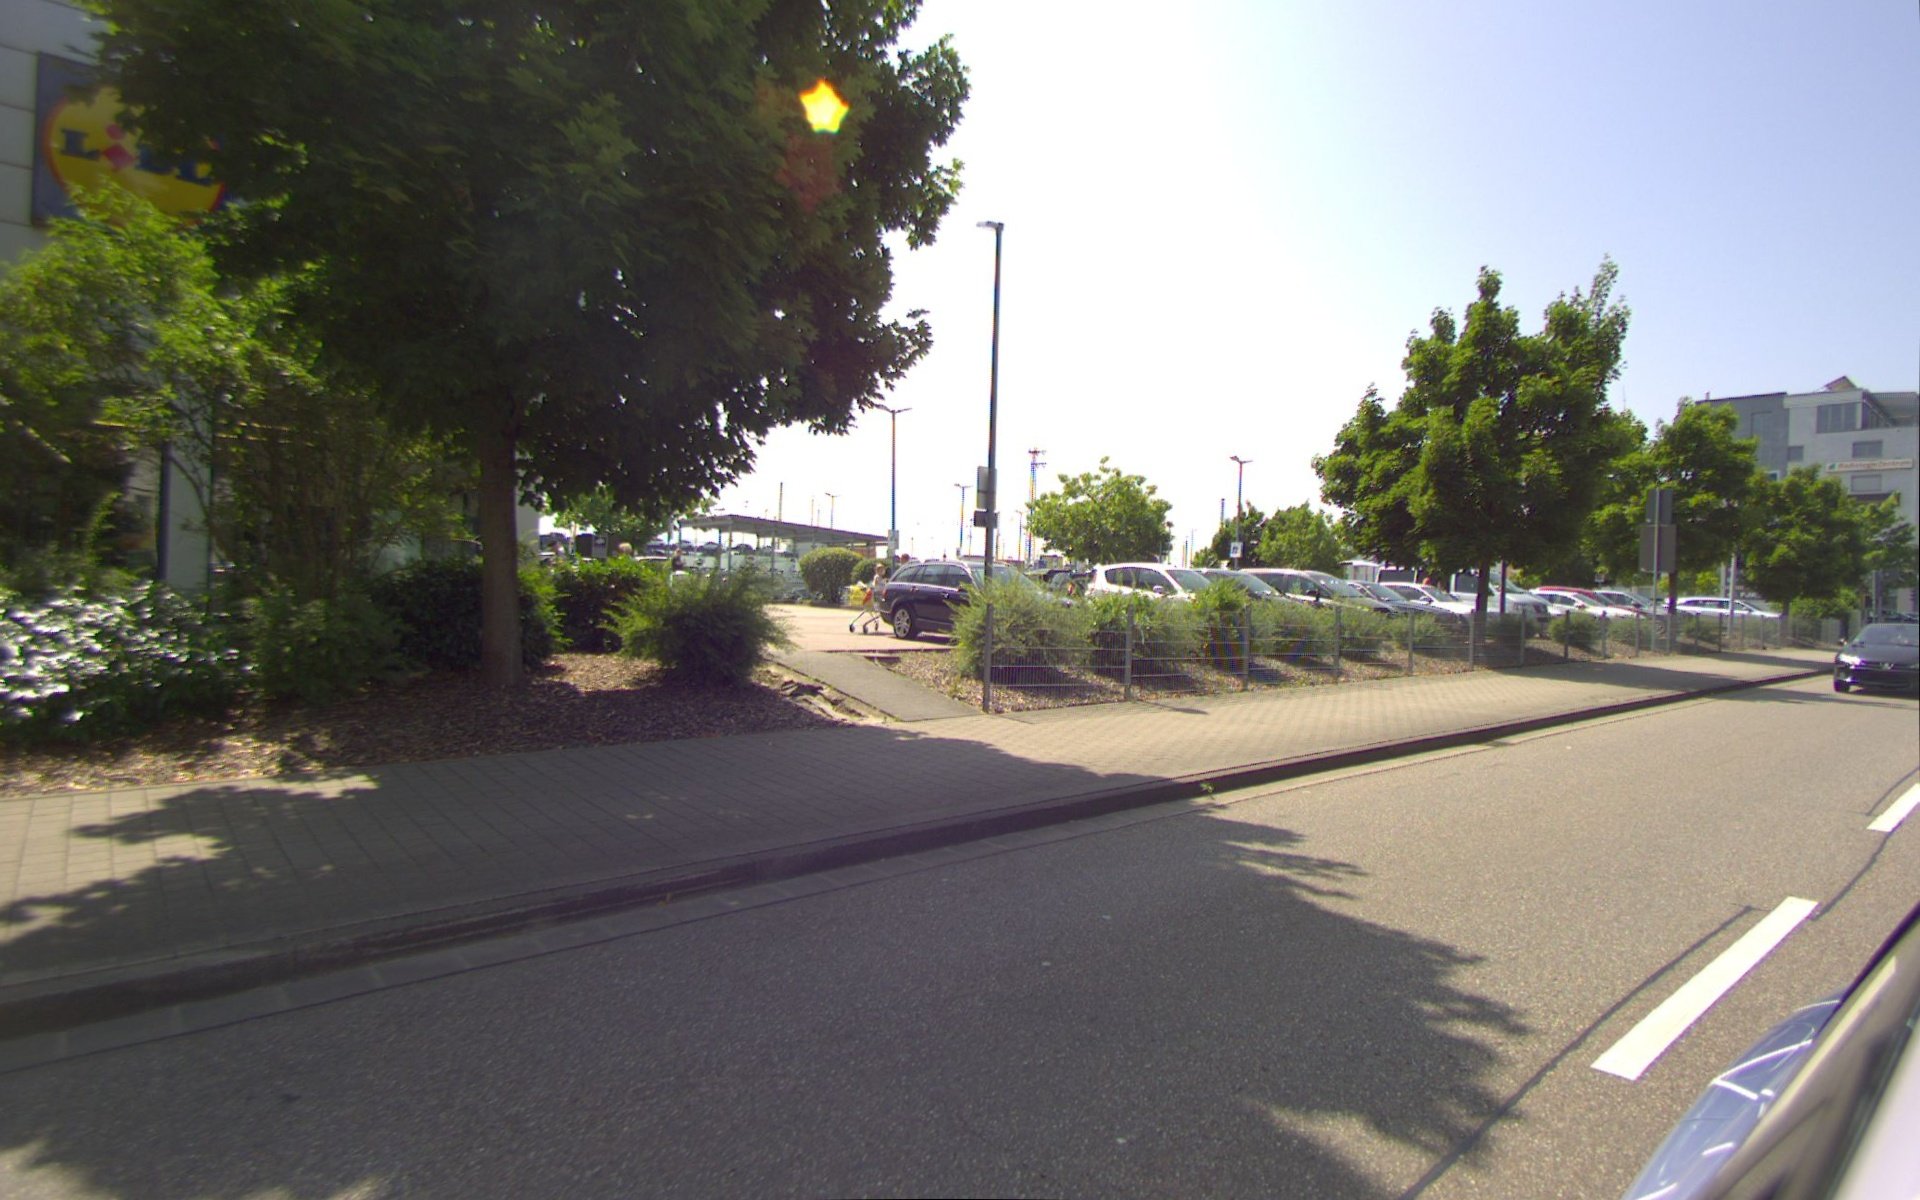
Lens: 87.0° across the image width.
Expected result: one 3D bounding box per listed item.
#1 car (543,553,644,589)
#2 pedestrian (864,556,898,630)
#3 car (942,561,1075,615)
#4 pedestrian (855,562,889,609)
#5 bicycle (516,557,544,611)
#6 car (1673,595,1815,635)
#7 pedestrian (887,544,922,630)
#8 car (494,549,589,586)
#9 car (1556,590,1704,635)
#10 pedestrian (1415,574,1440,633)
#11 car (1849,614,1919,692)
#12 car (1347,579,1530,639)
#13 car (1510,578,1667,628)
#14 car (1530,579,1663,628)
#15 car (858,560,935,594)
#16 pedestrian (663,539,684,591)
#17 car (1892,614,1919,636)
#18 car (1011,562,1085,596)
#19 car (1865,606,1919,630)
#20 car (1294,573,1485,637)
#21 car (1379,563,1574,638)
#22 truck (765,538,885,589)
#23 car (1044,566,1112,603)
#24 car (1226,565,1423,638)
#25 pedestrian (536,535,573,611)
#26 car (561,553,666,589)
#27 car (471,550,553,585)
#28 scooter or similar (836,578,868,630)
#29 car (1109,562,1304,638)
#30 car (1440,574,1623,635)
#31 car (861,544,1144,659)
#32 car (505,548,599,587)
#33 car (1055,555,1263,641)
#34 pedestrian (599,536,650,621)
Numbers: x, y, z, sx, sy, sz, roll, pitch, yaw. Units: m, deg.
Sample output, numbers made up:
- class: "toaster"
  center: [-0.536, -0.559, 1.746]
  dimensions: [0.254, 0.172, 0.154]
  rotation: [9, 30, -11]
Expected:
- class: "car"
  center: [-16.590, -1.314, 45.901]
  dimensions: [3.926, 1.432, 1.759]
  rotation: [2, 1, -38]
- class: "pedestrian"
  center: [-1.552, -0.141, 19.975]
  dimensions: [0.409, 1.430, 0.448]
  rotation: [2, 1, -43]
- class: "car"
  center: [1.553, -0.364, 31.797]
  dimensions: [3.922, 1.460, 1.653]
  rotation: [2, 1, -33]
- class: "pedestrian"
  center: [-1.691, -0.282, 19.443]
  dimensions: [0.409, 0.861, 0.448]
  rotation: [2, 1, -43]
- class: "bicycle"
  center: [-9.217, -0.358, 21.678]
  dimensions: [0.408, 1.102, 1.383]
  rotation: [2, 1, -28]
- class: "car"
  center: [33.802, 0.620, 43.746]
  dimensions: [1.667, 1.524, 4.587]
  rotation: [2, 1, -39]
- class: "pedestrian"
  center: [-1.107, -0.262, 20.147]
  dimensions: [0.409, 1.694, 0.448]
  rotation: [2, 1, -43]
- class: "car"
  center: [-21.808, -1.696, 52.835]
  dimensions: [4.242, 1.739, 1.759]
  rotation: [2, 1, -38]
- class: "car"
  center: [24.497, 0.426, 37.144]
  dimensions: [1.666, 1.439, 4.183]
  rotation: [2, 1, -36]
- class: "pedestrian"
  center: [13.130, 0.098, 28.432]
  dimensions: [0.439, 1.635, 0.416]
  rotation: [2, 2, -43]
- class: "car"
  center: [18.544, 0.998, 19.495]
  dimensions: [3.437, 1.374, 1.640]
  rotation: [2, 0, -40]
- class: "car"
  center: [12.604, 0.204, 26.864]
  dimensions: [1.793, 1.407, 3.998]
  rotation: [2, 1, -38]
- class: "car"
  center: [20.402, 0.067, 32.966]
  dimensions: [1.667, 1.439, 4.006]
  rotation: [2, 1, -39]
- class: "car"
  center: [22.329, 0.106, 35.590]
  dimensions: [1.693, 1.556, 3.596]
  rotation: [2, 1, -41]
- class: "car"
  center: [-3.499, -1.254, 55.882]
  dimensions: [3.784, 1.705, 1.787]
  rotation: [2, 1, -36]
- class: "pedestrian"
  center: [-10.568, -1.276, 37.342]
  dimensions: [0.563, 1.872, 0.815]
  rotation: [2, 1, -7]
- class: "car"
  center: [65.684, 1.760, 68.313]
  dimensions: [1.724, 1.356, 3.881]
  rotation: [2, 2, -39]
- class: "car"
  center: [4.859, -1.133, 55.880]
  dimensions: [3.784, 1.705, 1.787]
  rotation: [2, 1, -36]
- class: "car"
  center: [61.979, 1.219, 66.084]
  dimensions: [1.830, 1.356, 3.997]
  rotation: [2, 2, -39]
- class: "car"
  center: [10.630, 0.087, 25.285]
  dimensions: [1.793, 1.407, 3.998]
  rotation: [2, 1, -38]
- class: "car"
  center: [14.671, -0.029, 28.987]
  dimensions: [1.793, 1.948, 4.629]
  rotation: [2, 1, -38]
- class: "truck"
  center: [-11.459, -3.082, 86.631]
  dimensions: [9.843, 3.885, 2.860]
  rotation: [2, 2, -36]
- class: "car"
  center: [5.203, -0.672, 44.462]
  dimensions: [2.905, 1.437, 1.268]
  rotation: [2, 2, -41]
- class: "car"
  center: [8.478, -0.020, 23.814]
  dimensions: [1.794, 1.553, 3.998]
  rotation: [0, 2, -38]
- class: "pedestrian"
  center: [-8.782, -0.588, 21.930]
  dimensions: [0.525, 1.593, 0.590]
  rotation: [2, 1, -41]
- class: "car"
  center: [-14.986, -1.253, 43.883]
  dimensions: [3.926, 1.371, 1.759]
  rotation: [2, 1, -38]
- class: "car"
  center: [-25.240, -1.830, 57.064]
  dimensions: [3.926, 1.739, 1.759]
  rotation: [2, 1, -38]
- class: "scooter or similar"
  center: [-2.076, 0.079, 19.471]
  dimensions: [0.383, 0.967, 0.433]
  rotation: [2, 1, -42]
- class: "car"
  center: [5.587, -0.058, 23.254]
  dimensions: [1.797, 1.553, 3.991]
  rotation: [0, 2, -44]
- class: "car"
  center: [16.982, 0.088, 30.249]
  dimensions: [1.793, 1.613, 4.378]
  rotation: [2, 1, -38]
- class: "car"
  center: [0.558, -0.066, 17.580]
  dimensions: [1.987, 1.615, 5.001]
  rotation: [1, 2, -41]
- class: "car"
  center: [-20.125, -1.601, 49.956]
  dimensions: [3.926, 1.739, 1.759]
  rotation: [2, 1, -38]
- class: "car"
  center: [4.052, -0.021, 21.075]
  dimensions: [1.795, 1.616, 3.992]
  rotation: [2, -1, -42]
- class: "pedestrian"
  center: [-6.473, -0.414, 19.508]
  dimensions: [0.755, 1.593, 0.561]
  rotation: [2, 1, -36]
